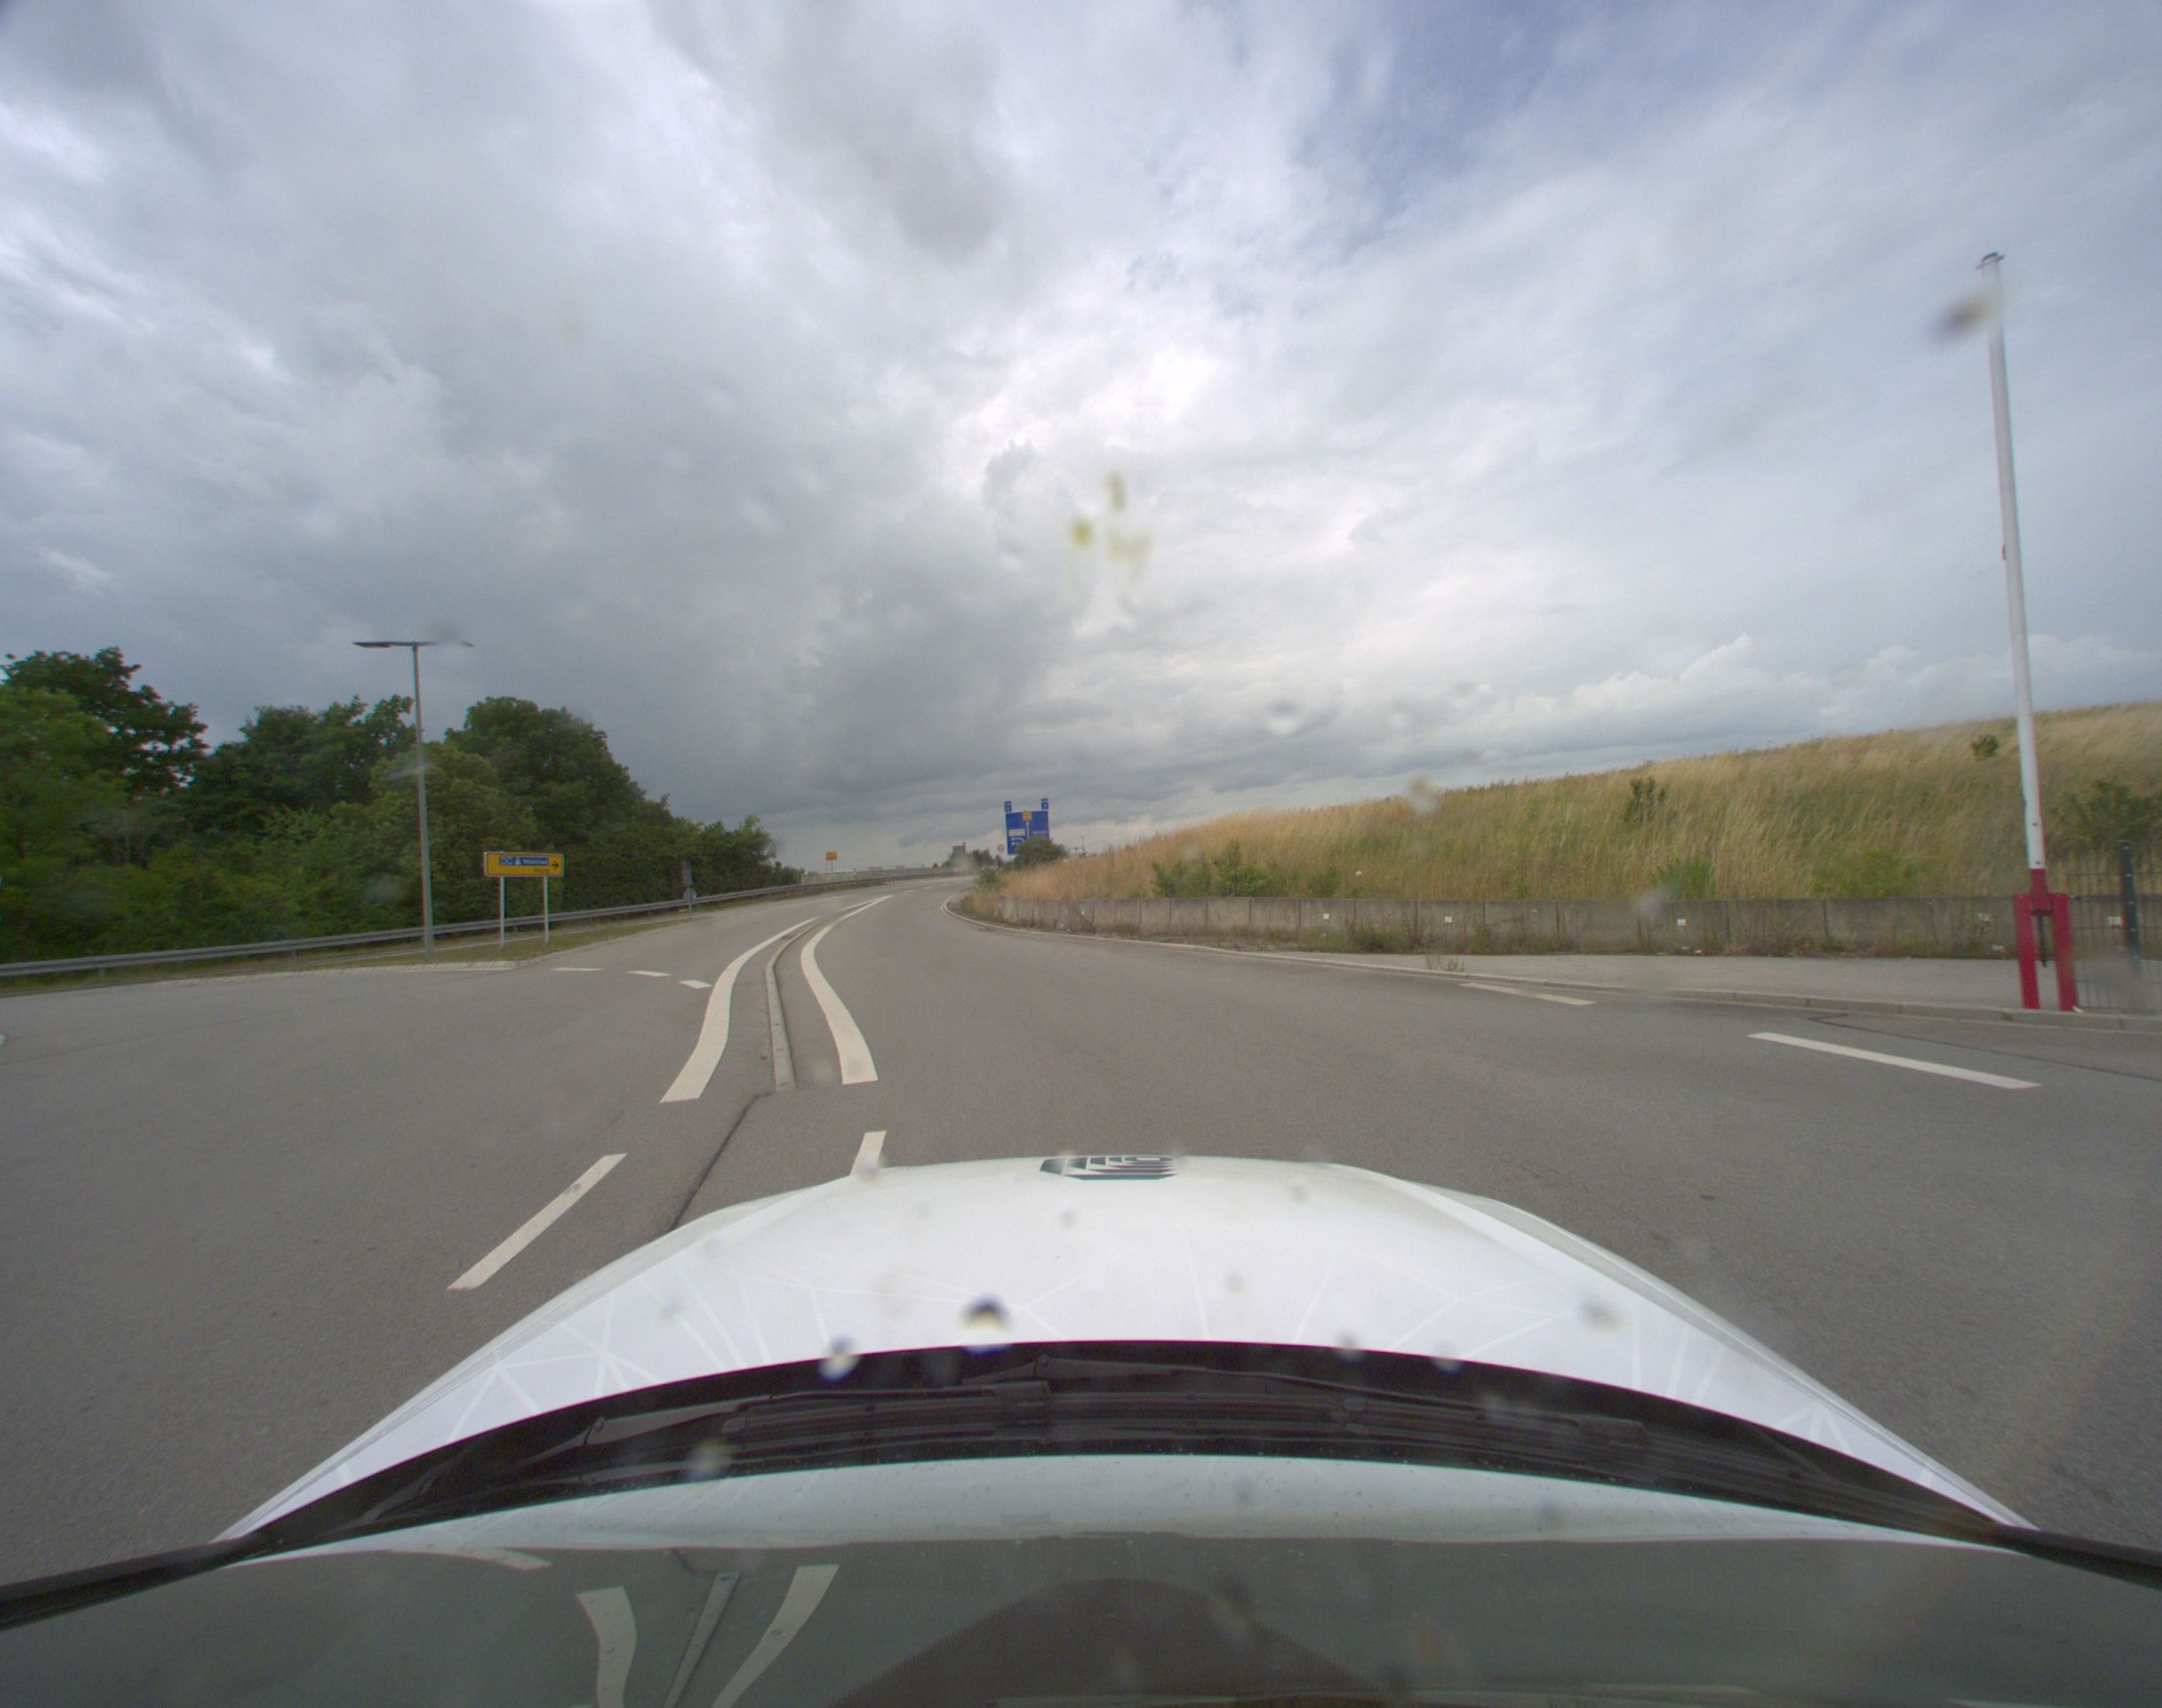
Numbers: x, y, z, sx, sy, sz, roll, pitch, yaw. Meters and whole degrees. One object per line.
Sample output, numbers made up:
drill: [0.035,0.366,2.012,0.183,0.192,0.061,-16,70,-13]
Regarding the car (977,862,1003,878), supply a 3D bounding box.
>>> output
car: [-8.964,1.548,80.285,1.509,1.485,3.624,-3,-1,9]
